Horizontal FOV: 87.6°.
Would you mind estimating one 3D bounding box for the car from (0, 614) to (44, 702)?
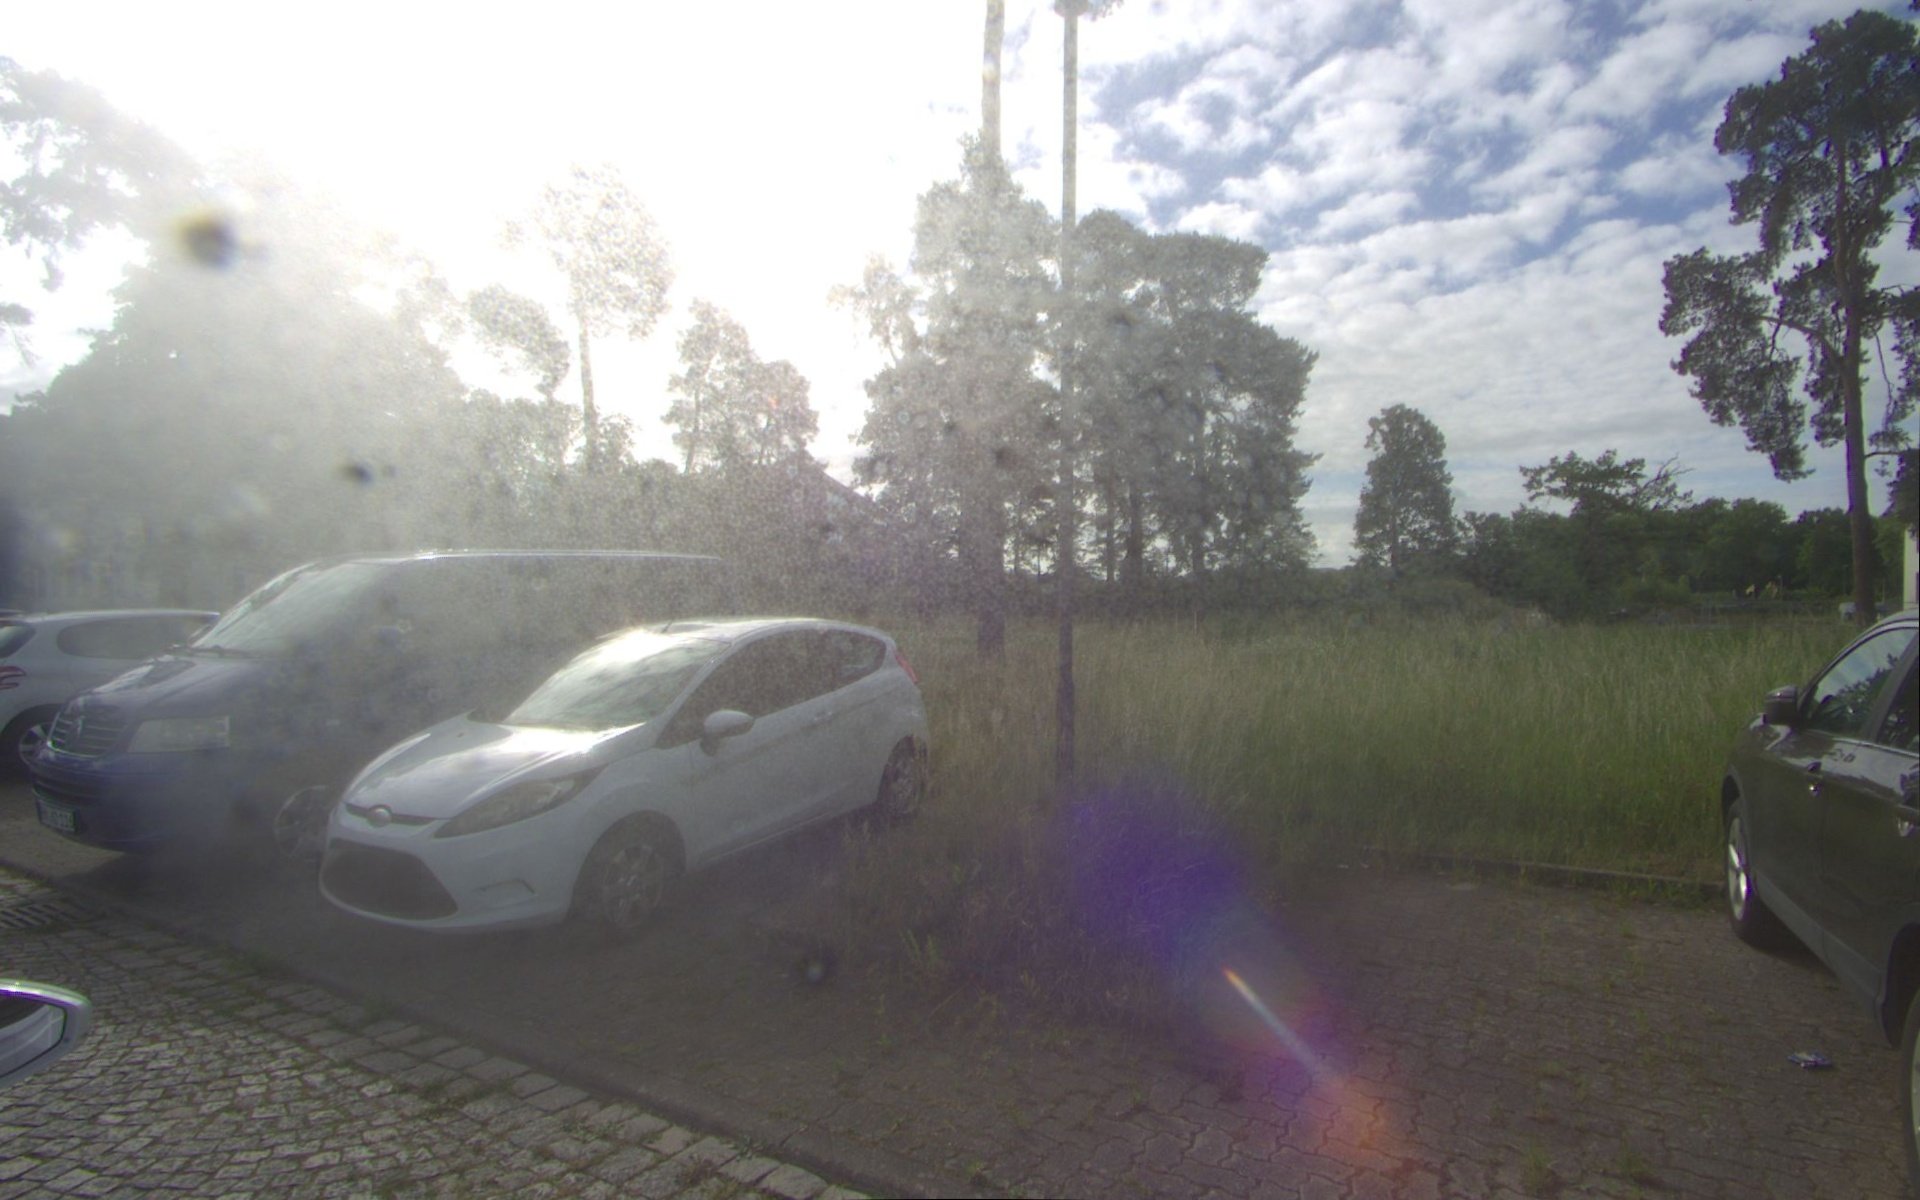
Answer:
[{"bbox_3d":[-15.583,0.868,14.326,1.637,1.284,3.292,1,0,25],"label":"car"}]

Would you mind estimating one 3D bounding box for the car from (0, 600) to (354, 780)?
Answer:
[{"bbox_3d":[-8.267,0.777,10.132,1.638,1.524,3.289,1,0,29],"label":"car"}]

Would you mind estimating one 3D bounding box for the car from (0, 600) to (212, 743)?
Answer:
[{"bbox_3d":[-10.927,0.771,11.373,1.635,1.526,3.602,1,0,20],"label":"car"}]

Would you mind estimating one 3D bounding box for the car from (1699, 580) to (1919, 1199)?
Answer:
[{"bbox_3d":[3.640,0.772,3.043,1.735,1.601,3.946,1,0,29],"label":"car"}]

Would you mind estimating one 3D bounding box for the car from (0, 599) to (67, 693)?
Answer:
[{"bbox_3d":[-17.154,0.743,16.013,1.637,1.564,3.987,1,0,25],"label":"car"}]

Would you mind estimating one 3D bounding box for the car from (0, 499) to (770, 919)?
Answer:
[{"bbox_3d":[-3.645,0.559,7.432,1.712,2.067,4.776,1,0,30],"label":"car"}]

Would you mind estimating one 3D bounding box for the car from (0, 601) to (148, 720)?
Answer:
[{"bbox_3d":[-13.106,0.781,13.257,1.635,1.524,3.296,1,0,20],"label":"car"}]

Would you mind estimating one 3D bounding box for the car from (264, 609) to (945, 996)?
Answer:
[{"bbox_3d":[-1.700,0.823,5.998,1.629,1.443,3.718,1,1,28],"label":"car"}]
